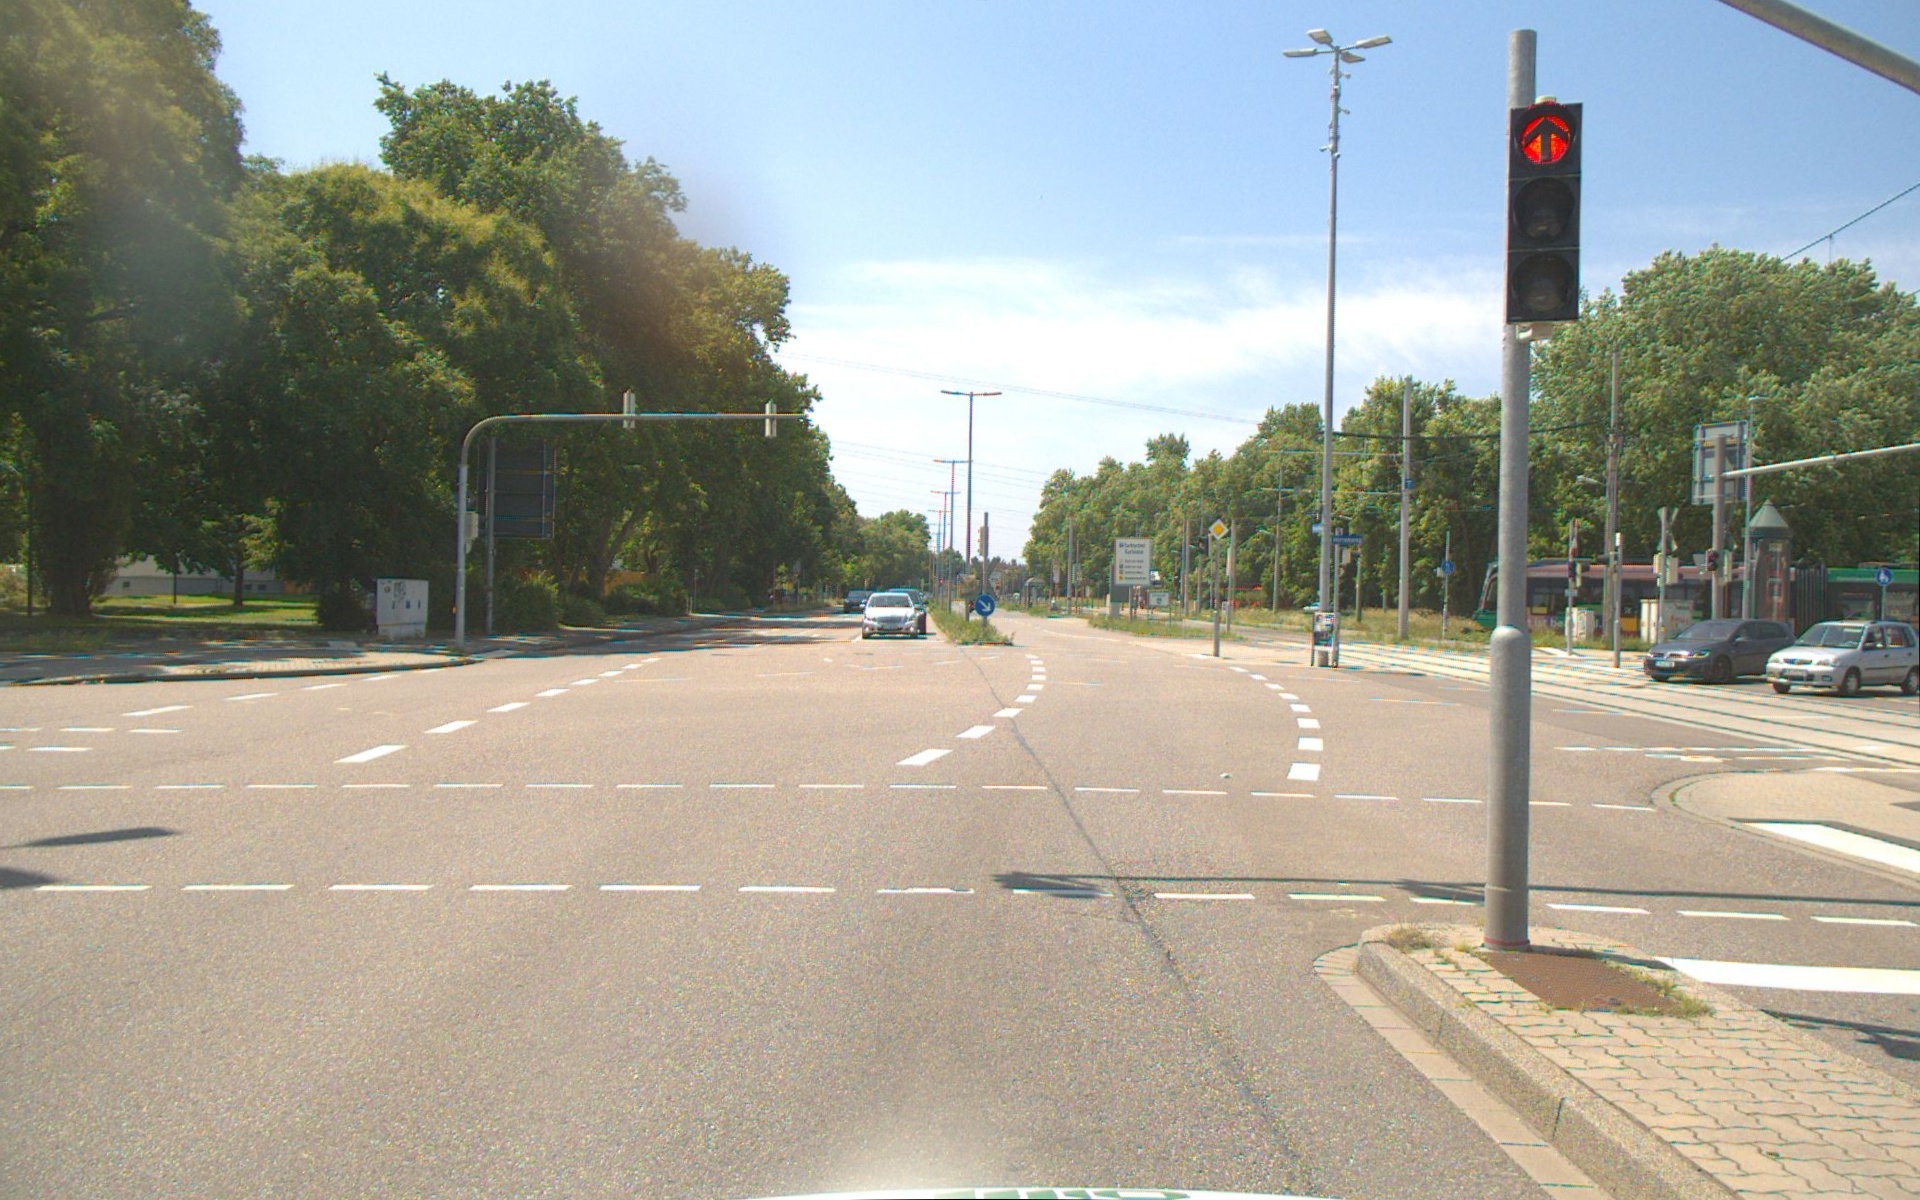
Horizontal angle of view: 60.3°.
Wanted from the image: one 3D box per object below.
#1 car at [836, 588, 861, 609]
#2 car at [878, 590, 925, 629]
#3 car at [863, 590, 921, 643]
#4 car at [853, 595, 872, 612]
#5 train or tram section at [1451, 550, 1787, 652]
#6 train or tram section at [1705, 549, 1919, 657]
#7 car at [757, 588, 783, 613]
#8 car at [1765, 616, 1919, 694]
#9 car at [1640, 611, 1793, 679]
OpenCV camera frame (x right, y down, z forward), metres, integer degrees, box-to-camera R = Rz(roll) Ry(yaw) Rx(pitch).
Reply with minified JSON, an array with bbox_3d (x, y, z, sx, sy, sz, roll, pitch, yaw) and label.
[{"bbox_3d":[-8.261,-0.131,122.999,1.637,1.516,3.710,1,0,-1],"label":"car"},{"bbox_3d":[-2.148,0.341,61.560,1.676,1.389,3.864,1,0,-1],"label":"car"},{"bbox_3d":[-2.189,0.504,54.175,1.748,1.657,3.864,1,0,-1],"label":"car"},{"bbox_3d":[-9.314,0.334,158.586,1.637,1.516,3.710,1,0,-1],"label":"car"},{"bbox_3d":[27.331,0.022,69.261,12.761,3.878,2.924,1,-3,20],"label":"train or tram section"},{"bbox_3d":[37.543,0.255,67.835,13.156,3.879,2.919,2,-3,-7],"label":"train or tram section"},{"bbox_3d":[-16.591,0.056,144.441,1.955,2.048,3.996,4,-1,-4],"label":"car"},{"bbox_3d":[18.529,1.115,34.459,3.764,1.488,1.619,1,0,-36],"label":"car"},{"bbox_3d":[17.523,1.027,38.294,3.465,1.488,1.622,1,0,-33],"label":"car"}]
